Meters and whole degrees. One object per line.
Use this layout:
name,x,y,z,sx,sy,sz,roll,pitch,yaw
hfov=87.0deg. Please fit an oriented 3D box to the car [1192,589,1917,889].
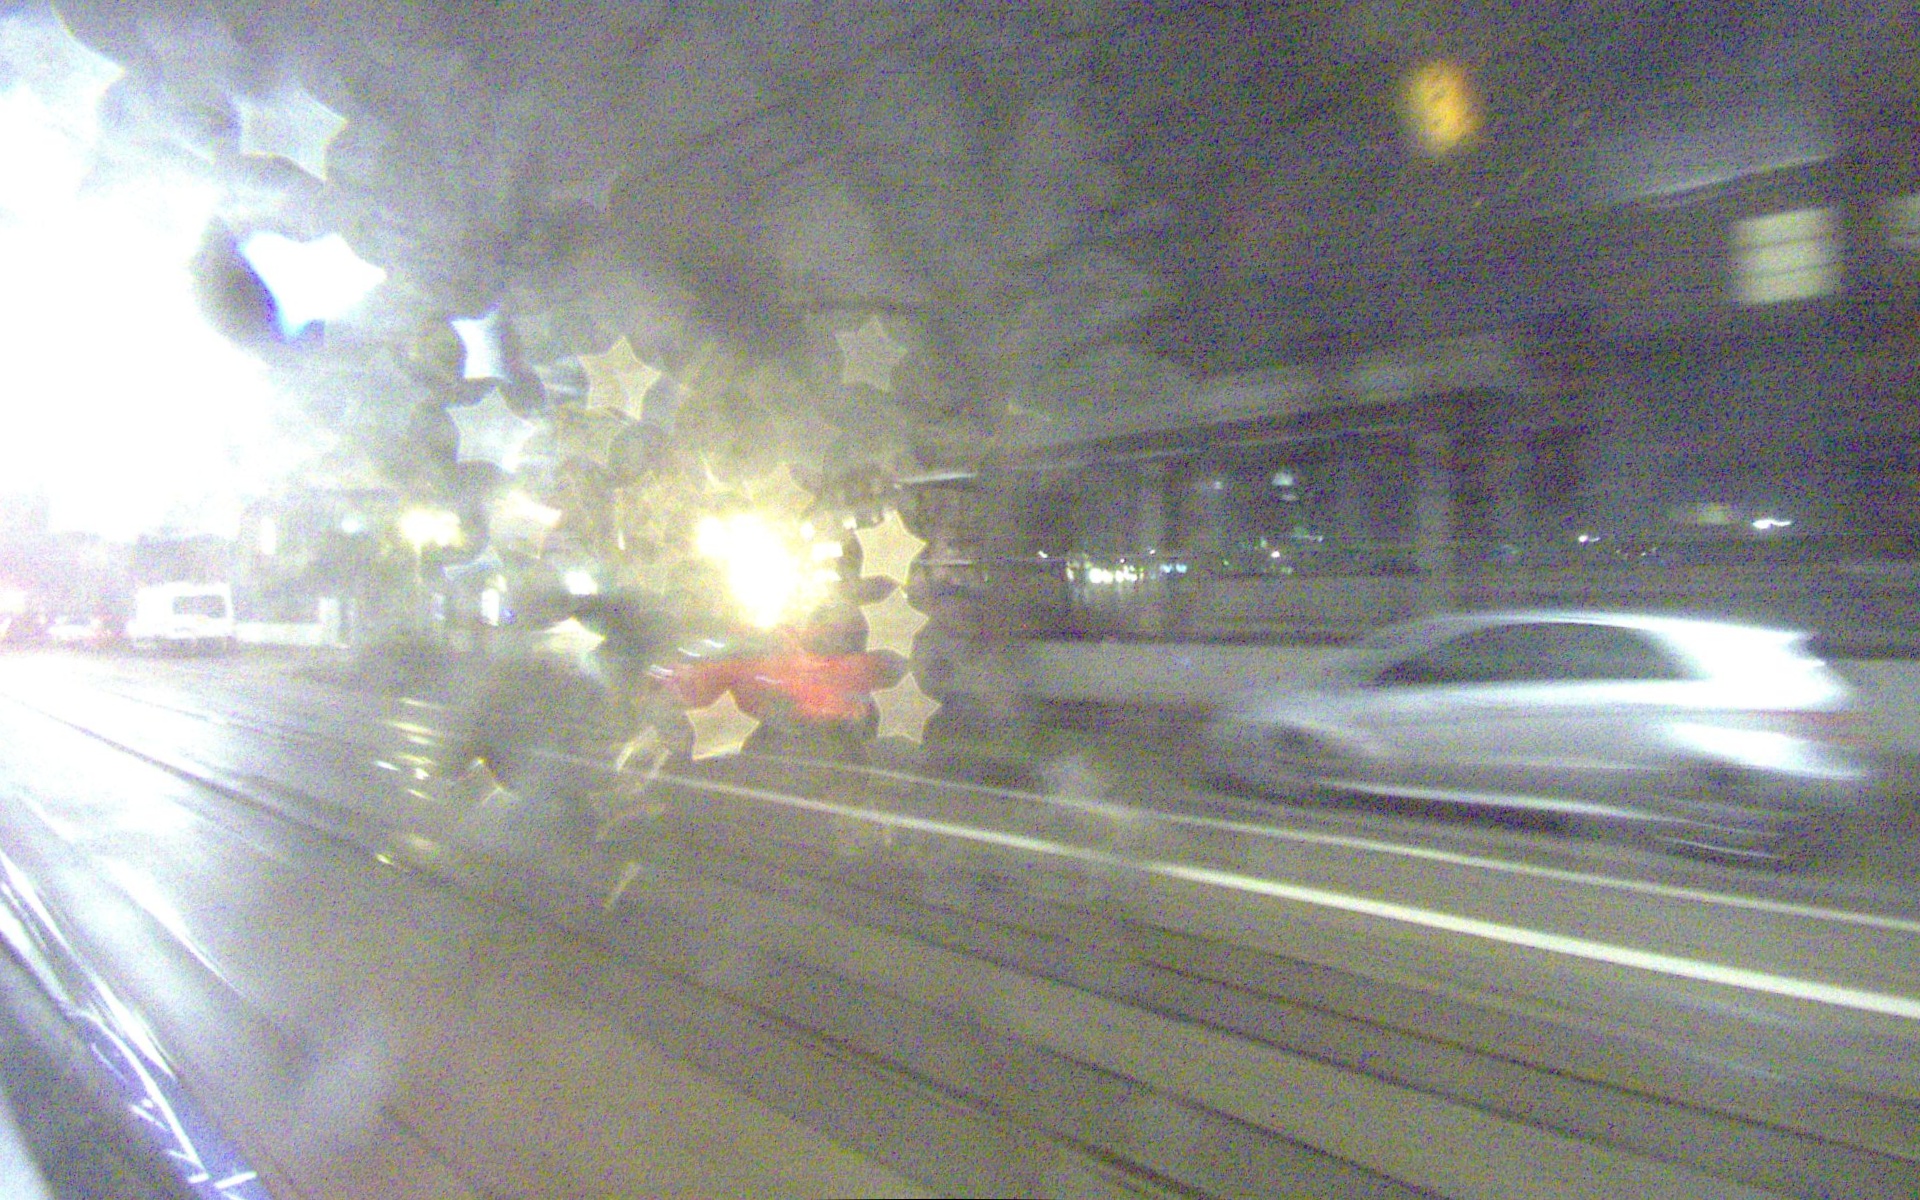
car,4.175,0.818,7.675,4.351,1.590,1.791,-2,1,41

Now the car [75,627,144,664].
car,-36.696,1.928,43.658,3.387,1.418,1.698,-1,1,40

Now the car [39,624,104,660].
car,-43.376,2.029,49.368,3.661,1.593,1.823,-1,1,40

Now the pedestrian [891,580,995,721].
pedestrian,-0.254,0.701,14.495,1.290,1.916,0.784,-1,-1,41

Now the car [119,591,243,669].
car,-27.515,1.020,35.694,5.254,2.527,2.221,-1,1,39

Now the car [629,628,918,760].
car,-2.573,1.124,13.459,3.948,1.467,1.701,-1,-1,41

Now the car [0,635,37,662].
car,-59.226,2.989,63.373,3.916,1.587,1.671,-1,-1,41
